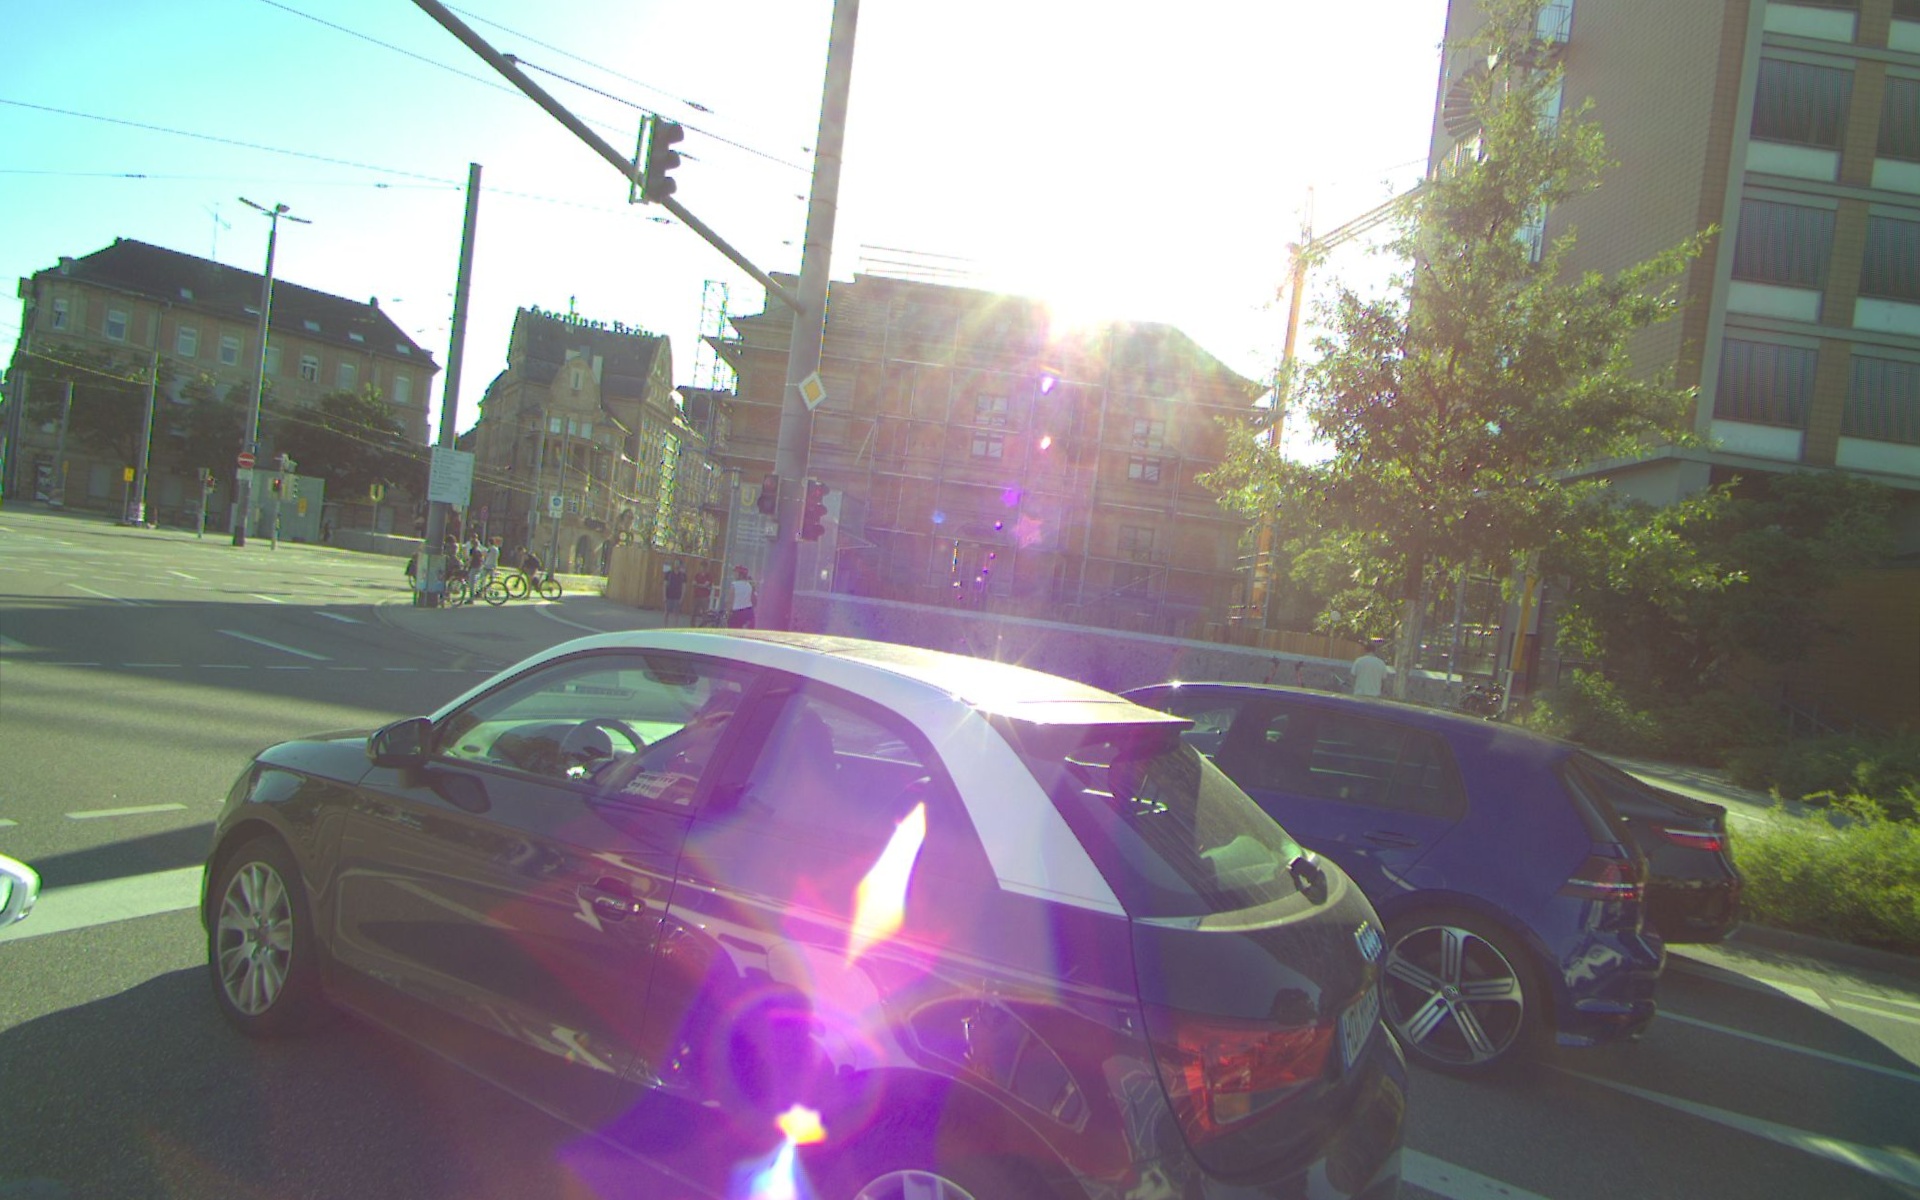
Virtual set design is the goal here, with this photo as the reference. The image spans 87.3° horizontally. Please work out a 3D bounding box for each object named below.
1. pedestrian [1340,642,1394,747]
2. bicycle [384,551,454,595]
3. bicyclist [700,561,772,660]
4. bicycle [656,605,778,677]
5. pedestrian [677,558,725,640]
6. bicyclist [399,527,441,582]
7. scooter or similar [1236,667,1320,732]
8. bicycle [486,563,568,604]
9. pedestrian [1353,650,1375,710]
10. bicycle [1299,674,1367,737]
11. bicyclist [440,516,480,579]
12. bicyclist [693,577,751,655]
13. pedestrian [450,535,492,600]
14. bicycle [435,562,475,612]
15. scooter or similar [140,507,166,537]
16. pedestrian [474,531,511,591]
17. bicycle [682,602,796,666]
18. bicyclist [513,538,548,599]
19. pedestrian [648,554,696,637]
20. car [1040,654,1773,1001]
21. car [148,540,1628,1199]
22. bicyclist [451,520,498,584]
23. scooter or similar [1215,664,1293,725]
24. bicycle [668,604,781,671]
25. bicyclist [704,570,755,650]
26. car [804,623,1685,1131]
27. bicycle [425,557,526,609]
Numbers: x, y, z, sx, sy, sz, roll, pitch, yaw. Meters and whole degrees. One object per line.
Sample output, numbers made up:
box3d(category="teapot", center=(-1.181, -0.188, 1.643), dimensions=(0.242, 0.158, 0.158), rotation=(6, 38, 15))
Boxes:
box3d(category="pedestrian", center=(6.855, 1.568, 16.937), dimensions=(0.592, 1.662, 0.677), rotation=(7, 3, 29))
box3d(category="bicycle", center=(-16.877, -0.845, 31.376), dimensions=(2.278, 1.061, 0.536), rotation=(8, -1, 24))
box3d(category="bicyclist", center=(-3.829, 0.185, 17.192), dimensions=(0.781, 1.571, 0.668), rotation=(7, -1, 27))
box3d(category="bicycle", center=(-4.195, 0.705, 17.323), dimensions=(1.999, 0.974, 0.660), rotation=(6, -1, 27))
box3d(category="pedestrian", center=(-6.161, -0.010, 23.978), dimensions=(0.672, 1.828, 0.672), rotation=(7, -1, 11))
box3d(category="bicyclist", center=(-16.852, -1.423, 31.401), dimensions=(0.930, 1.575, 0.516), rotation=(7, -1, 24))
box3d(category="scooter or similar", center=(5.902, 1.833, 18.683), dimensions=(1.348, 1.007, 0.342), rotation=(7, -1, 25))
box3d(category="bicycle", center=(-13.551, -0.518, 31.548), dimensions=(2.289, 1.063, 0.532), rotation=(5, 2, -25))
box3d(category="pedestrian", center=(12.293, 2.429, 30.616), dimensions=(0.369, 1.752, 0.444), rotation=(7, -1, 17))
box3d(category="bicycle", center=(6.988, 1.965, 18.891), dimensions=(0.352, 1.015, 1.149), rotation=(8, -2, -29))
box3d(category="bicyclist", center=(-12.599, -1.319, 25.324), dimensions=(0.702, 1.456, 0.940), rotation=(8, -1, -29))
box3d(category="bicyclist", center=(-4.396, 0.296, 18.612), dimensions=(0.662, 1.330, 0.617), rotation=(7, -1, 27))
box3d(category="pedestrian", center=(-16.295, -1.076, 33.534), dimensions=(0.748, 2.037, 0.733), rotation=(7, -1, 25))
box3d(category="bicycle", center=(-12.700, -0.347, 25.263), dimensions=(0.693, 1.061, 2.303), rotation=(9, -1, -29))
box3d(category="scooter or similar", center=(-42.105, -4.073, 52.462), dimensions=(0.784, 1.392, 1.885), rotation=(8, -2, -44))
box3d(category="pedestrian", center=(-15.974, -1.328, 34.401), dimensions=(0.678, 1.945, 0.649), rotation=(7, -1, 25))
box3d(category="bicycle", center=(-4.338, 0.662, 19.790), dimensions=(1.997, 0.976, 0.660), rotation=(7, 2, 5))
box3d(category="bicyclist", center=(-13.470, -0.966, 31.560), dimensions=(0.785, 1.800, 0.520), rotation=(8, -1, -23))
box3d(category="pedestrian", center=(-6.675, -0.104, 23.321), dimensions=(0.672, 1.830, 0.672), rotation=(7, 2, 11))
box3d(category="car", center=(3.031, 1.420, 7.539), dimensions=(4.436, 1.420, 1.727), rotation=(6, -2, 31))
box3d(category="car", center=(-0.507, 0.769, 2.972), dimensions=(3.934, 1.420, 1.627), rotation=(6, -2, 32))
box3d(category="bicyclist", center=(-12.924, -1.265, 26.775), dimensions=(0.936, 1.575, 0.705), rotation=(8, -1, -28))
box3d(category="scooter or similar", center=(5.725, 1.836, 19.631), dimensions=(1.346, 1.007, 0.343), rotation=(7, -1, 13))
box3d(category="bicycle", center=(-4.355, 0.678, 18.575), dimensions=(1.999, 0.976, 0.659), rotation=(6, 2, 27))
box3d(category="bicyclist", center=(-4.523, 0.211, 19.803), dimensions=(0.661, 1.471, 0.618), rotation=(7, -1, 3))
box3d(category="car", center=(1.277, 1.099, 5.347), dimensions=(3.934, 1.420, 1.627), rotation=(6, -2, 32))
box3d(category="bicycle", center=(-12.902, -0.442, 26.832), dimensions=(2.294, 1.061, 0.696), rotation=(9, -2, -28))
